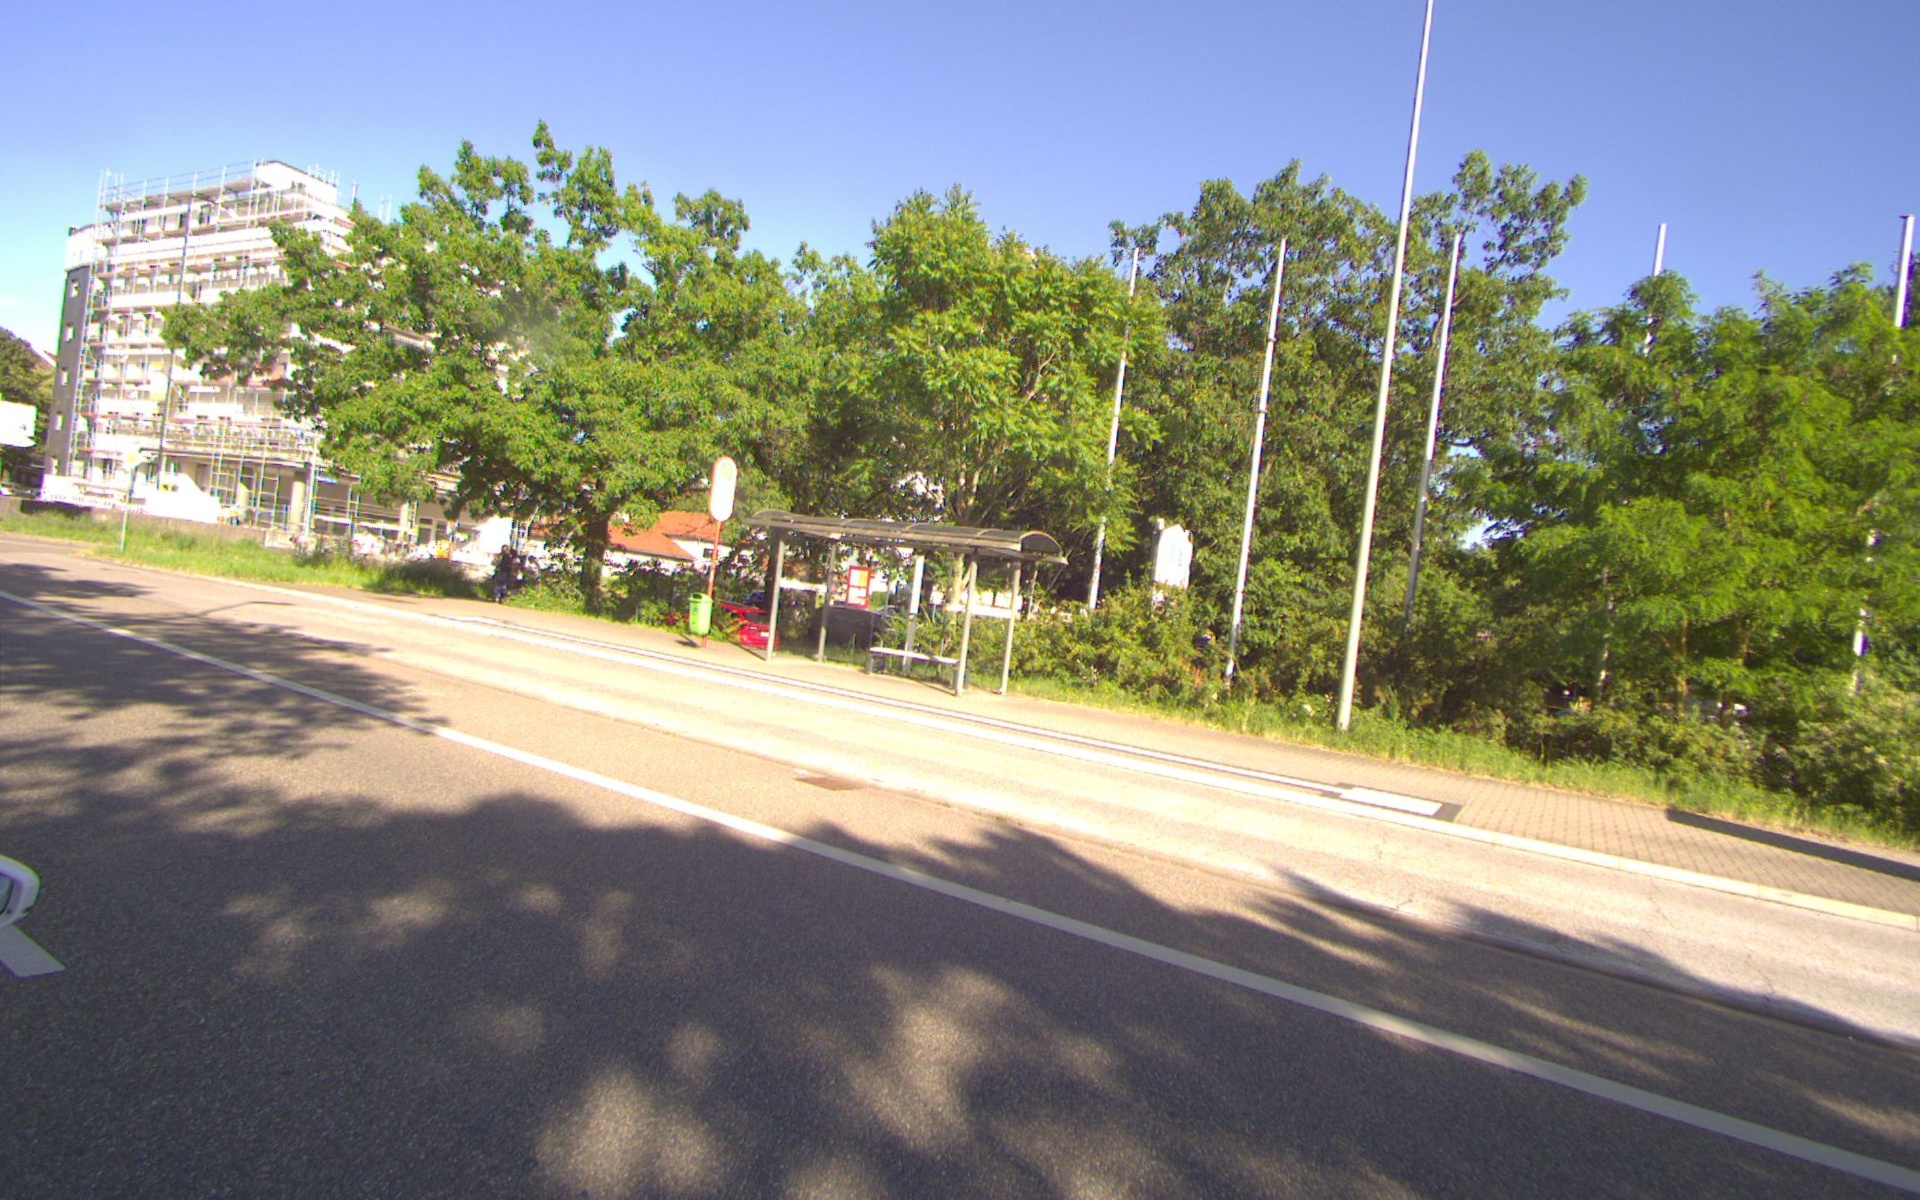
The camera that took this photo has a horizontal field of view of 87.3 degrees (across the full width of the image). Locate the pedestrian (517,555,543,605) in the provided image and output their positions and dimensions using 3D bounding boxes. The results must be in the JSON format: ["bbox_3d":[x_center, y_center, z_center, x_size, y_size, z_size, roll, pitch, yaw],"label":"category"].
[{"bbox_3d":[-13.399,-0.631,31.325,0.517,1.465,0.587,7,1,-32],"label":"pedestrian"}]

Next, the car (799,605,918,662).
[{"bbox_3d":[-3.586,1.201,35.976,3.674,1.504,1.914,7,0,13],"label":"car"}]

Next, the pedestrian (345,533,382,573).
[{"bbox_3d":[-27.097,-2.118,45.688,0.969,1.674,0.891,7,0,2],"label":"pedestrian"}]

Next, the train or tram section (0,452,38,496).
[{"bbox_3d":[-86.157,-11.514,87.084,3.265,3.555,19.266,7,0,-25],"label":"train or tram section"}]

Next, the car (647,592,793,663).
[{"bbox_3d":[-6.871,0.795,28.742,3.680,1.504,1.755,7,0,28],"label":"car"}]

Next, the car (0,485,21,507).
[{"bbox_3d":[-66.546,-7.265,69.992,1.521,1.330,3.250,7,0,-40],"label":"car"}]

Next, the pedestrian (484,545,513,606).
[{"bbox_3d":[-13.016,-0.701,28.370,0.517,1.632,0.587,7,1,-32],"label":"pedestrian"}]

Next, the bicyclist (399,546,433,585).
[{"bbox_3d":[-22.563,-1.441,41.728,0.732,1.454,0.844,6,-1,32],"label":"bicyclist"}]

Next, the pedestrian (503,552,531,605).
[{"bbox_3d":[-12.772,-0.628,29.006,0.517,1.465,0.587,7,1,-32],"label":"pedestrian"}]
